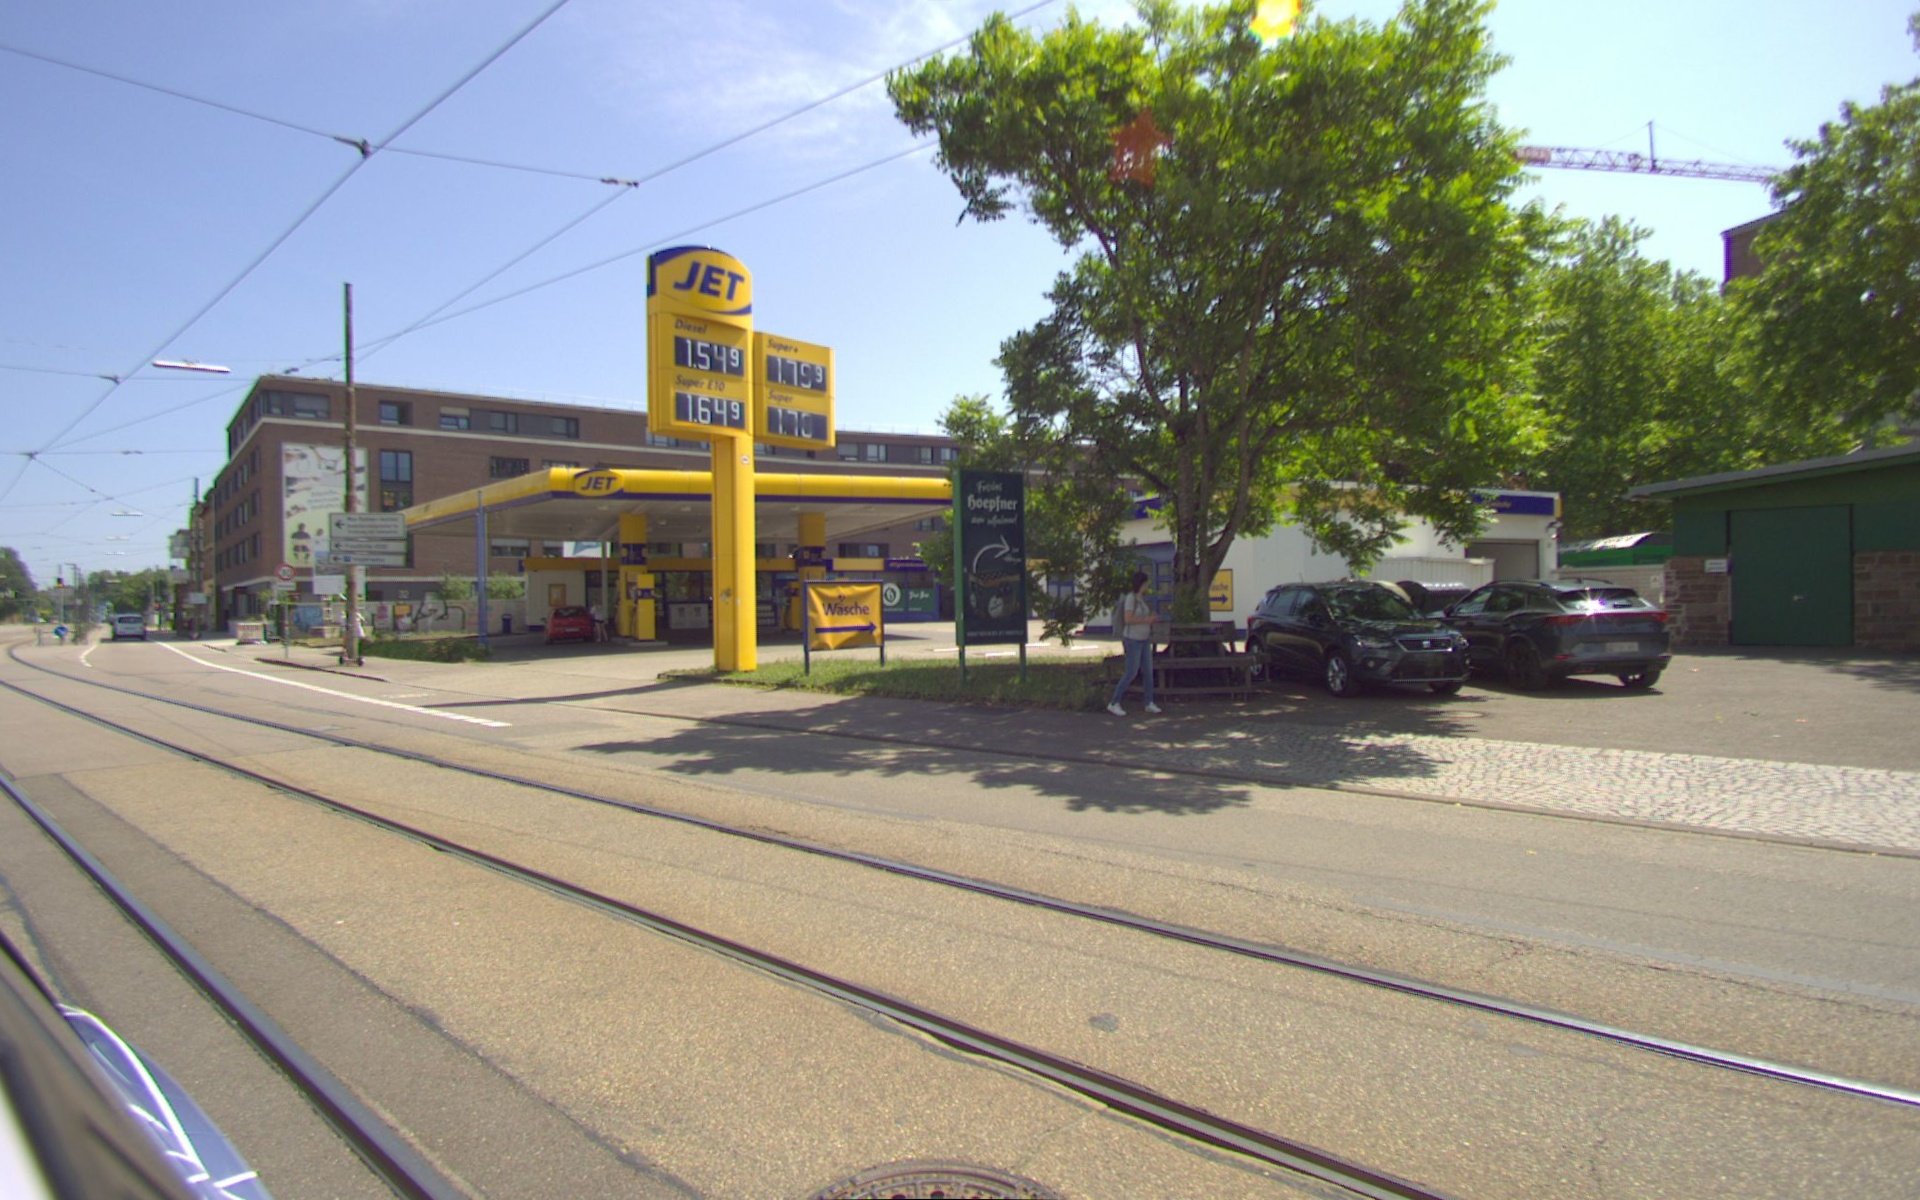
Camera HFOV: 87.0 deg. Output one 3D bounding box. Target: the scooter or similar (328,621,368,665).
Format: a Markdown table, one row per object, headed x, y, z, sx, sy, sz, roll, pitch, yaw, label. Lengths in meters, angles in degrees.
| x | y | z | sx | sy | sz | roll | pitch | yaw | label |
| --- | --- | --- | --- | --- | --- | --- | --- | --- | --- |
| -17.519 | 1.229 | 28.970 | 1.375 | 1.209 | 0.513 | -2 | 1 | 39 | scooter or similar |

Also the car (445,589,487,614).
| x | y | z | sx | sy | sz | roll | pitch | yaw | label |
| --- | --- | --- | --- | --- | --- | --- | --- | --- | --- |
| -32.115 | 0.106 | 65.740 | 1.709 | 1.479 | 4.009 | -2 | 0 | -36 | car |

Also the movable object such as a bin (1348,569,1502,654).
| x | y | z | sx | sy | sz | roll | pitch | yaw | label |
| --- | --- | --- | --- | --- | --- | --- | --- | --- | --- |
| 8.650 | 0.199 | 18.928 | 1.499 | 1.443 | 2.106 | -3 | 1 | -24 | movable object such as a bin |

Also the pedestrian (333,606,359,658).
| x | y | z | sx | sy | sz | roll | pitch | yaw | label |
| --- | --- | --- | --- | --- | --- | --- | --- | --- | --- |
| -20.556 | 1.068 | 33.869 | 0.617 | 1.704 | 0.723 | -1 | 0 | -39 | pedestrian |

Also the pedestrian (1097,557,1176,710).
| x | y | z | sx | sy | sz | roll | pitch | yaw | label |
| --- | --- | --- | --- | --- | --- | --- | --- | --- | --- |
| 2.139 | 0.385 | 12.260 | 0.699 | 1.789 | 0.574 | -2 | 1 | 38 | pedestrian |

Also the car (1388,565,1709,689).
| x | y | z | sx | sy | sz | roll | pitch | yaw | label |
| --- | --- | --- | --- | --- | --- | --- | --- | --- | --- |
| 8.446 | 0.319 | 15.108 | 1.906 | 1.499 | 4.455 | -2 | 1 | -4 | car |

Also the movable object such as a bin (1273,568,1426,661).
| x | y | z | sx | sy | sz | roll | pitch | yaw | label |
| --- | --- | --- | --- | --- | --- | --- | --- | --- | --- |
| 7.031 | 0.242 | 18.407 | 1.499 | 1.520 | 2.106 | -3 | 1 | -24 | movable object such as a bin |

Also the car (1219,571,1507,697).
| x | y | z | sx | sy | sz | roll | pitch | yaw | label |
| --- | --- | --- | --- | --- | --- | --- | --- | --- | --- |
| 5.655 | 0.400 | 14.944 | 1.904 | 1.499 | 4.460 | -2 | 1 | -9 | car |

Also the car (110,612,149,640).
| x | y | z | sx | sy | sz | roll | pitch | yaw | label |
| --- | --- | --- | --- | --- | --- | --- | --- | --- | --- |
| -57.971 | 1.783 | 70.632 | 1.969 | 1.813 | 4.560 | -3 | 2 | -40 | car |

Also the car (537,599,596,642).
| x | y | z | sx | sy | sz | roll | pitch | yaw | label |
| --- | --- | --- | --- | --- | --- | --- | --- | --- | --- |
| -15.537 | 0.828 | 39.855 | 1.800 | 1.516 | 4.212 | -3 | 0 | -25 | car |

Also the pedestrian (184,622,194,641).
| x | y | z | sx | sy | sz | roll | pitch | yaw | label |
| --- | --- | --- | --- | --- | --- | --- | --- | --- | --- |
| -68.112 | 2.763 | 89.381 | 0.596 | 1.608 | 0.716 | -1 | -1 | -43 | pedestrian |

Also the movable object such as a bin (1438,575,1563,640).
| x | y | z | sx | sy | sz | roll | pitch | yaw | label |
| --- | --- | --- | --- | --- | --- | --- | --- | --- | --- |
| 10.383 | 0.139 | 19.500 | 1.384 | 1.146 | 1.569 | -3 | 1 | -24 | movable object such as a bin |
